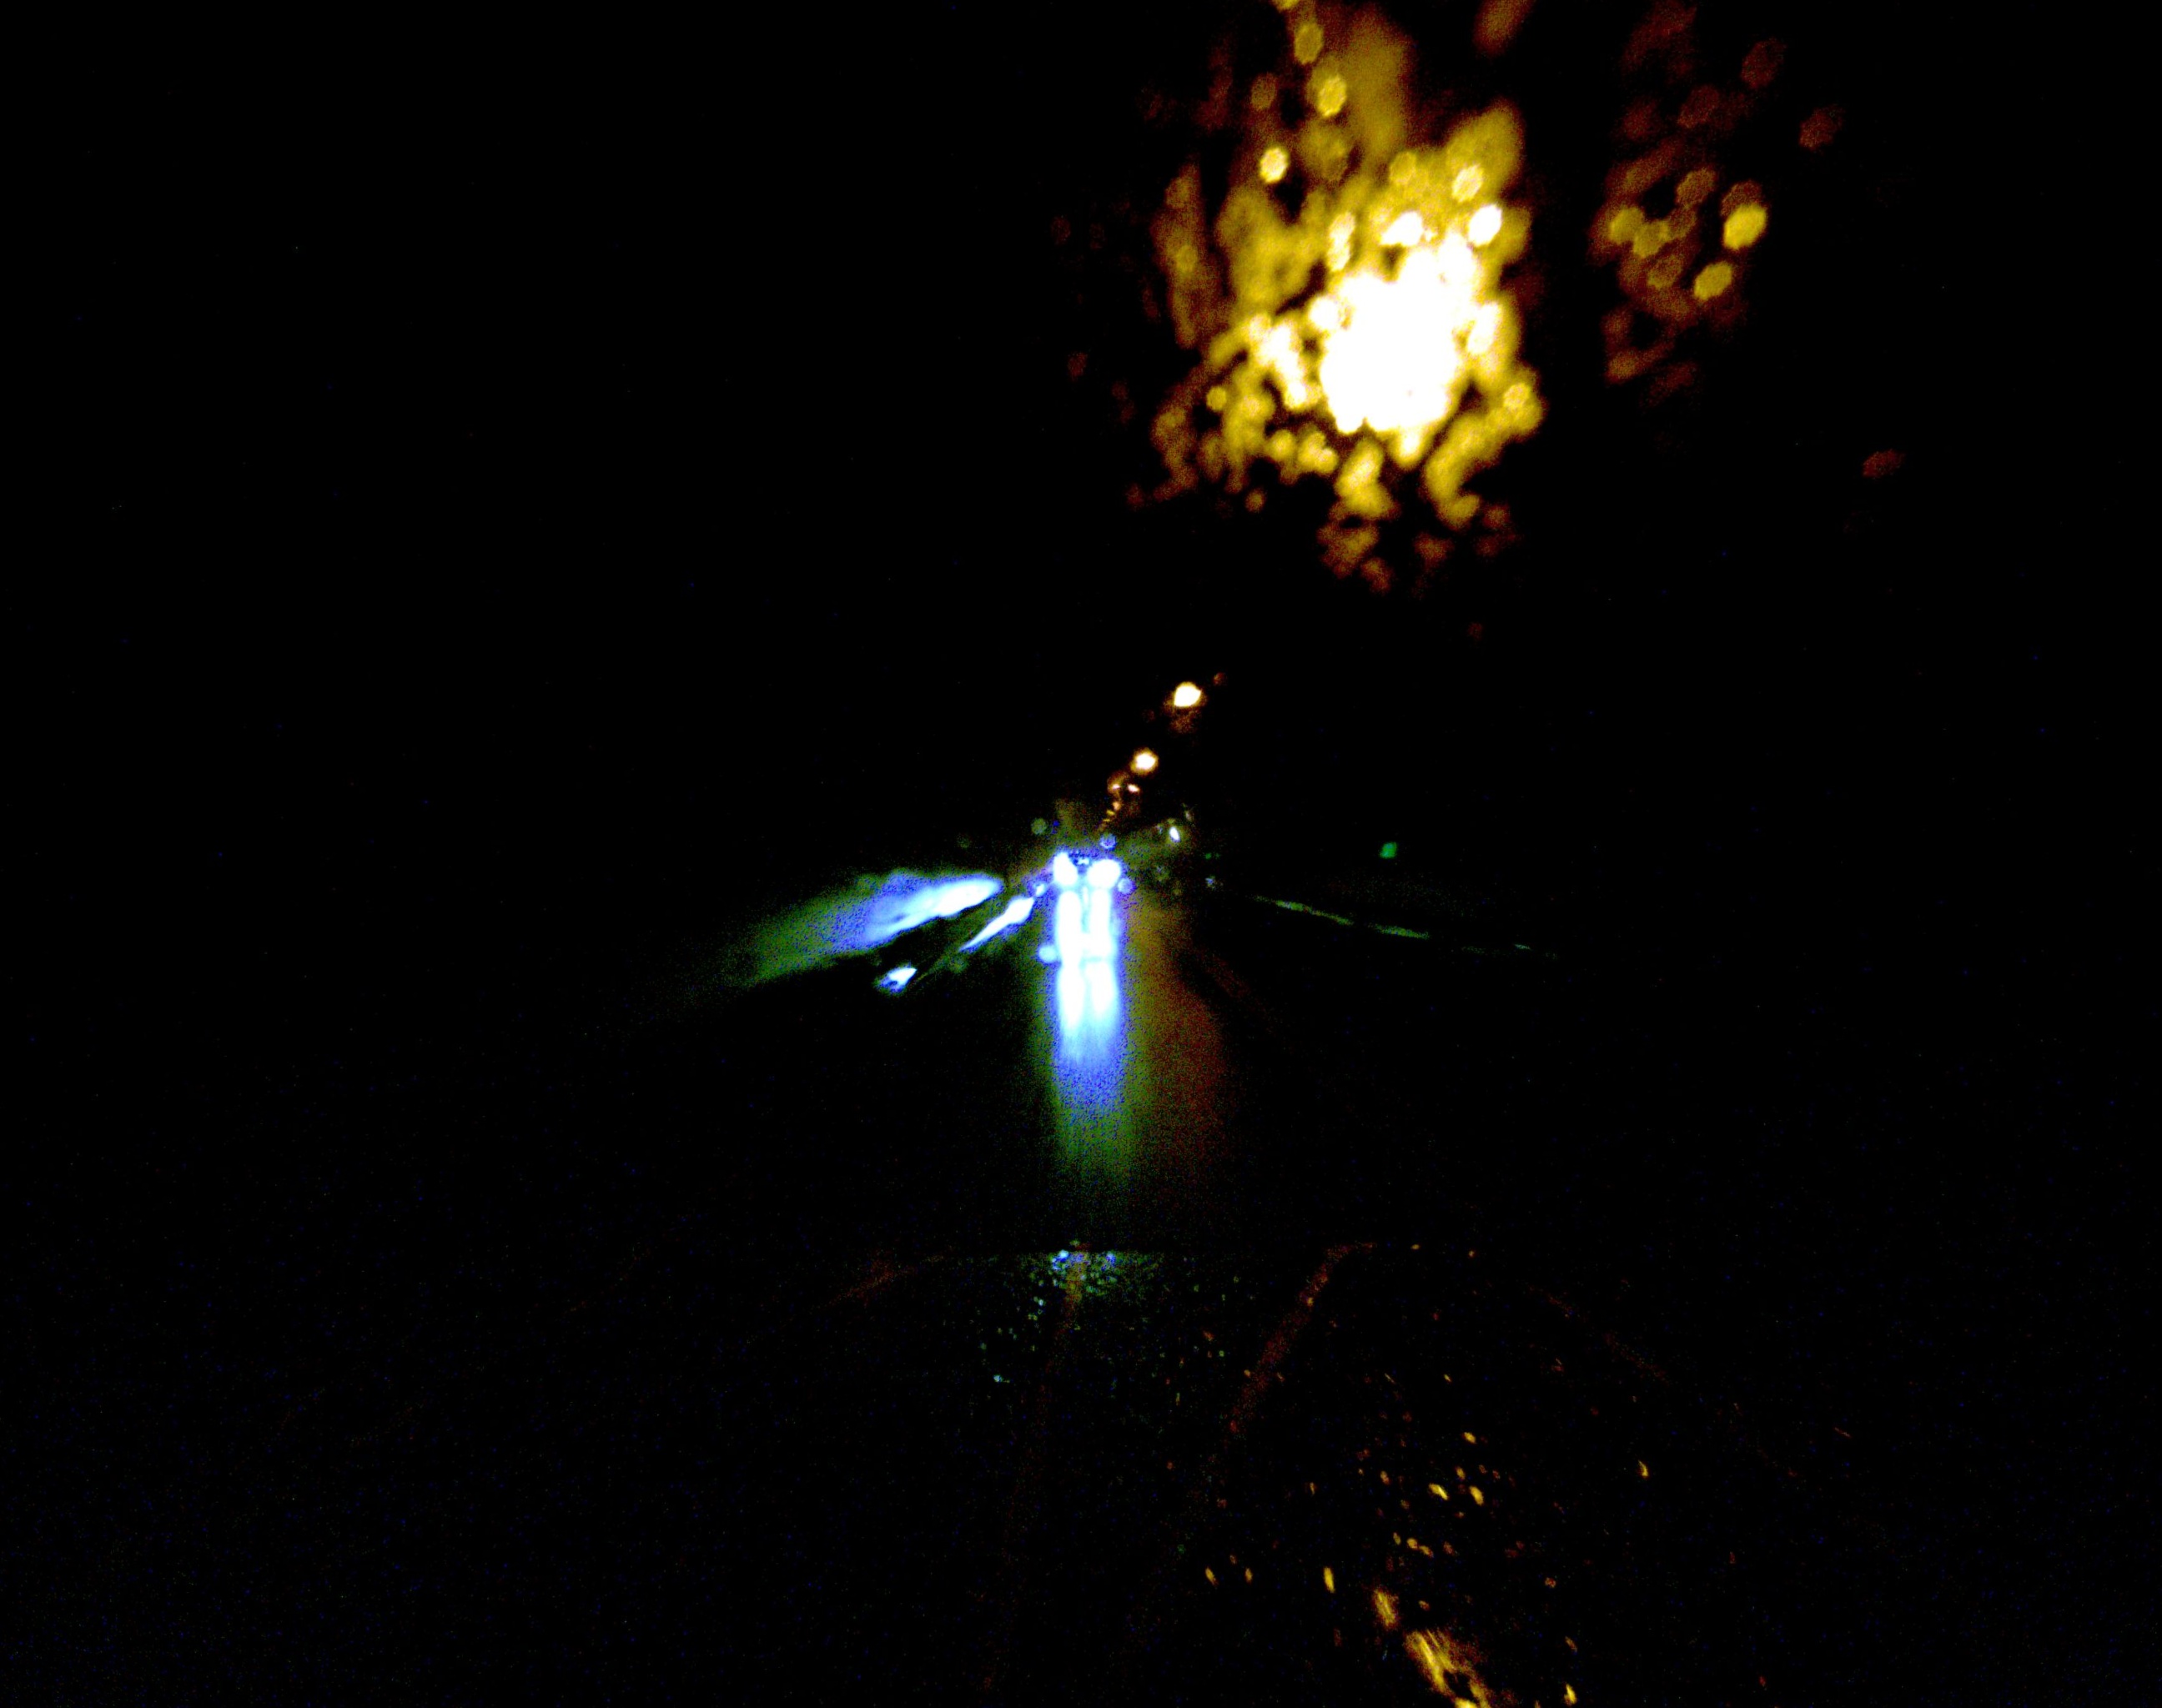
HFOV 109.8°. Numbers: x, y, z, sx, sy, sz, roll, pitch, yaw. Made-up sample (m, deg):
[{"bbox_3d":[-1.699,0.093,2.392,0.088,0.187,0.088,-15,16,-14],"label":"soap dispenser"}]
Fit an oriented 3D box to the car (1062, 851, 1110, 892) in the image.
[{"bbox_3d":[0.206,0.778,35.861,1.999,1.547,3.998,-4,2,-1],"label":"car"}]
